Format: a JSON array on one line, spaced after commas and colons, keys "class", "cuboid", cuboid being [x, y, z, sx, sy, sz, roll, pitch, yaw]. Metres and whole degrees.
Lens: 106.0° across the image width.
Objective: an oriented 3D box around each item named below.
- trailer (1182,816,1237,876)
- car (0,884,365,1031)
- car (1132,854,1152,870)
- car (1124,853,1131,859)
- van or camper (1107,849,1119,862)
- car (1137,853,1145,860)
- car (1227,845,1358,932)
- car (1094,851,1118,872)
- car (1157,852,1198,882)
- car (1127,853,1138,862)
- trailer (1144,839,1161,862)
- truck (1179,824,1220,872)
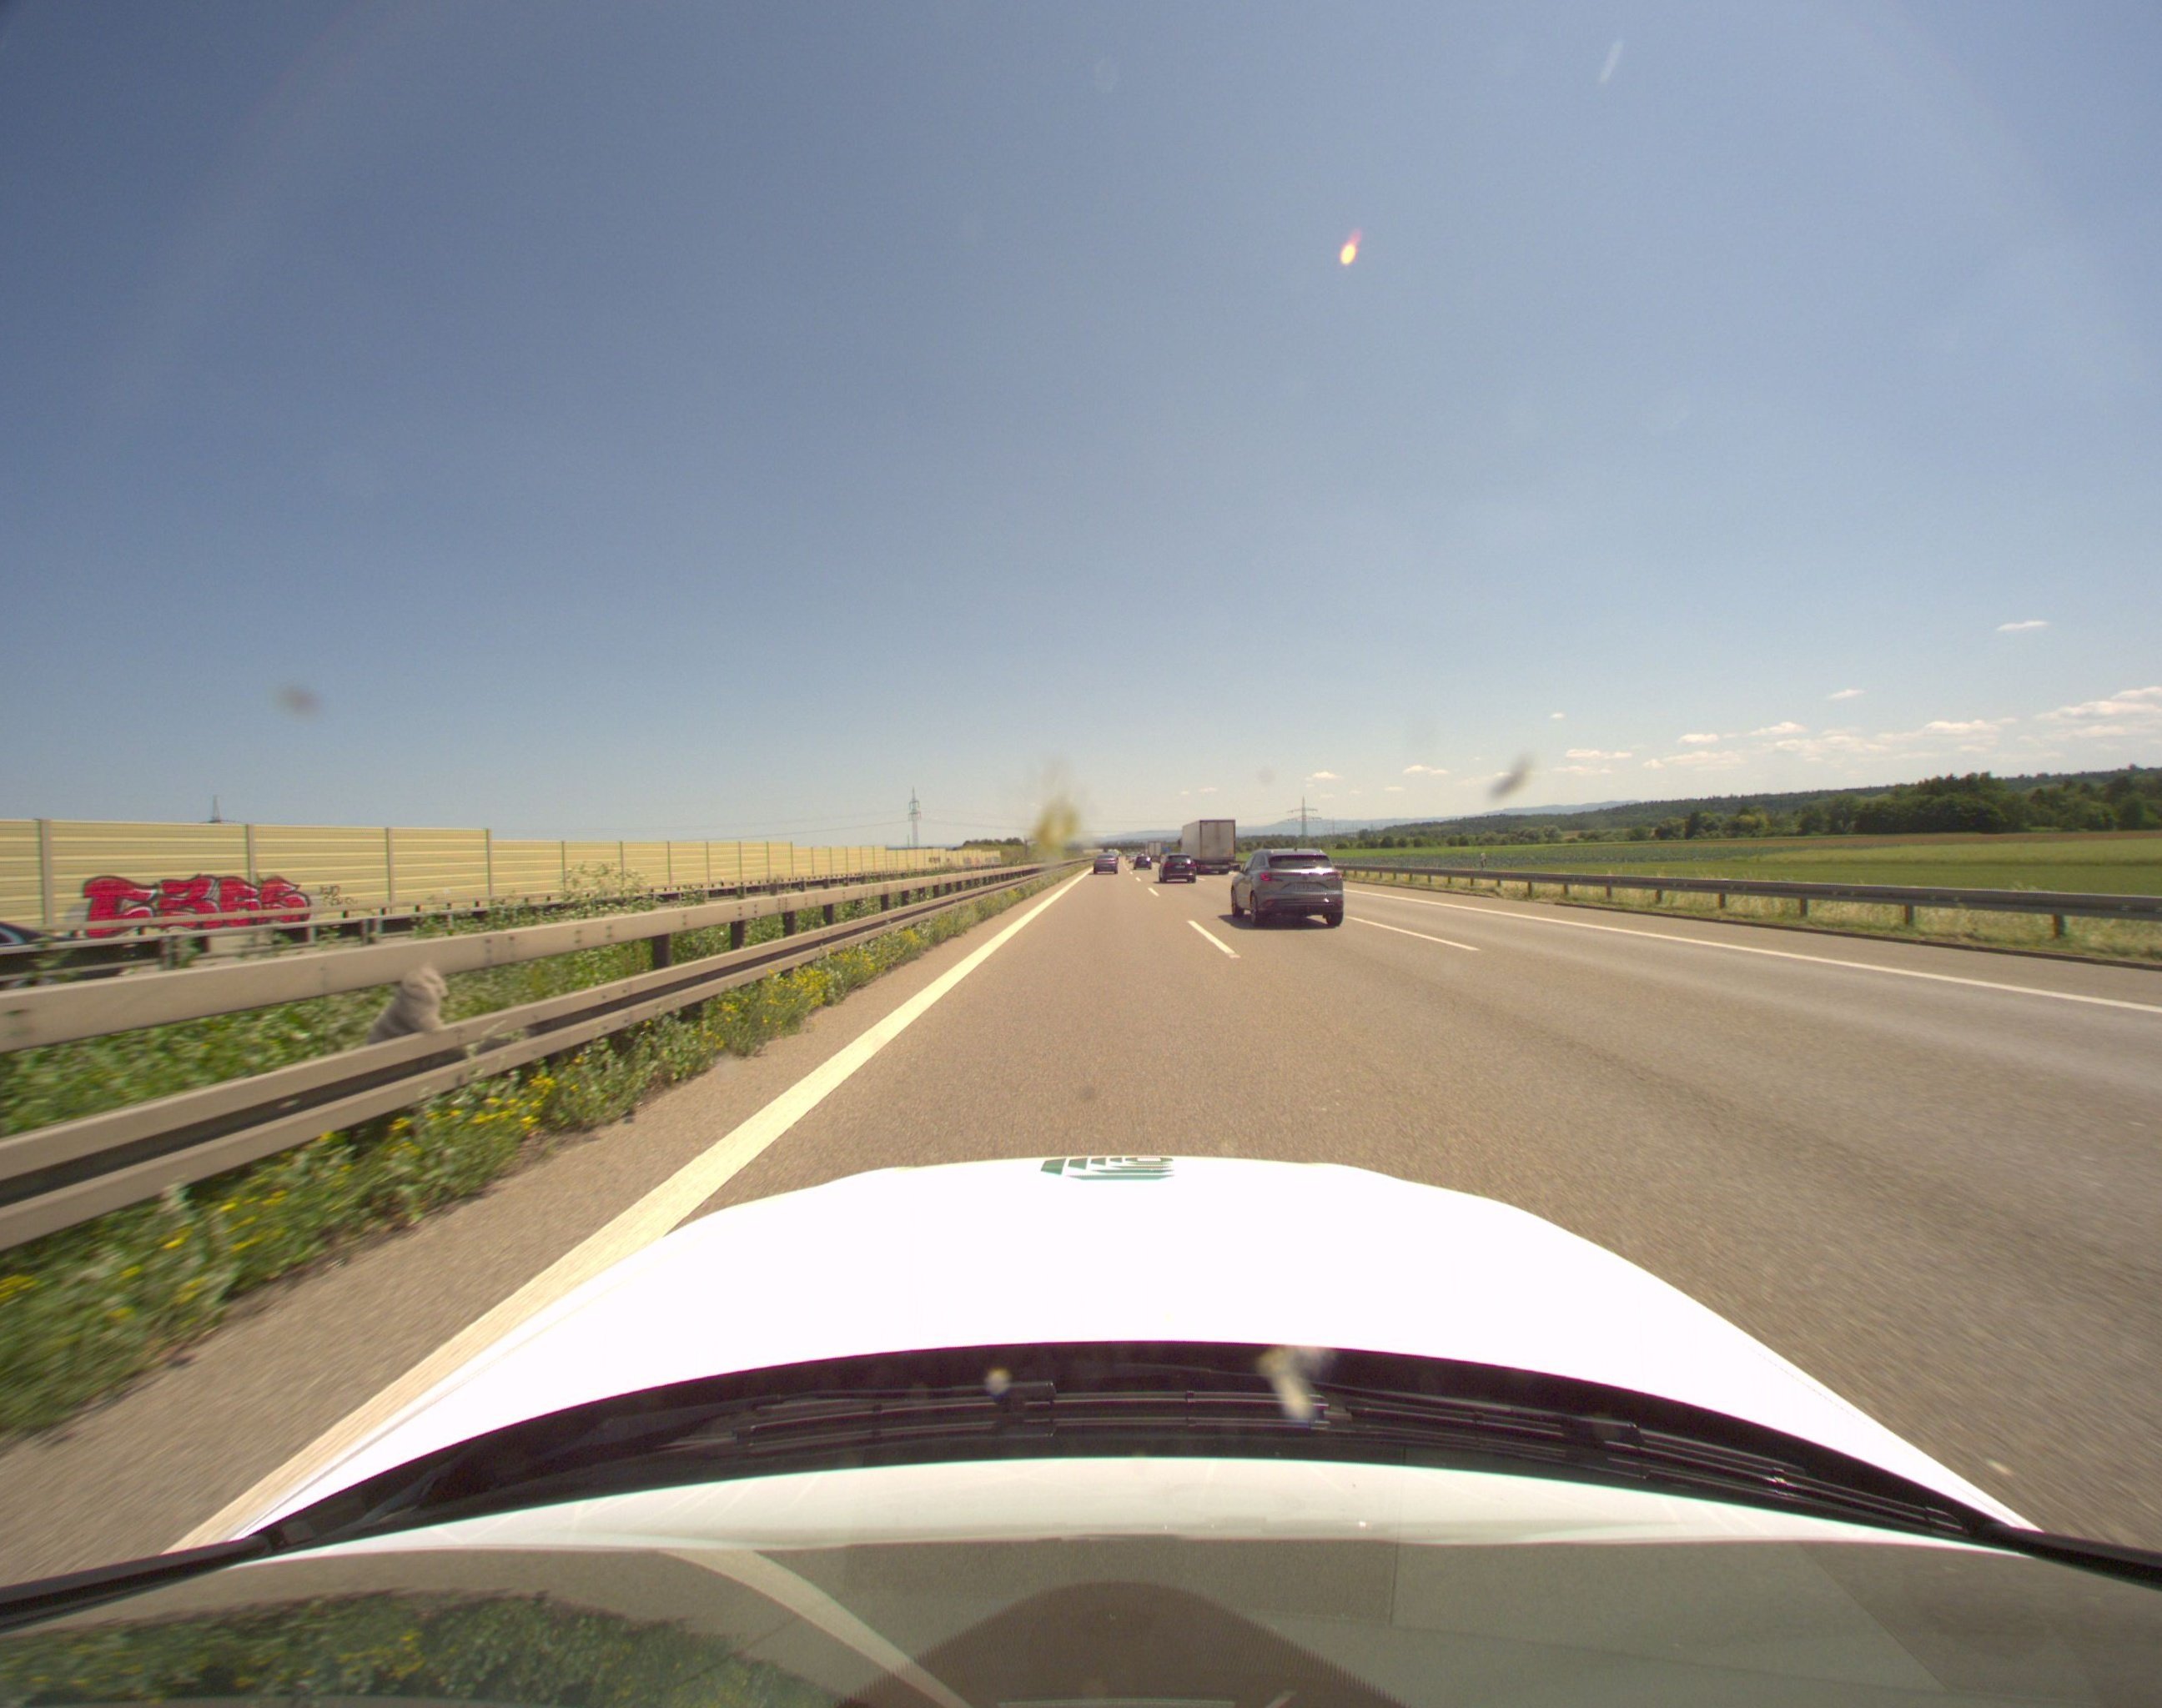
[{"class": "trailer", "cuboid": [10.042, -0.522, 64.984, 2.856, 4.220, 13.303, 0, 0, 3]}, {"class": "car", "cuboid": [-13.057, 1.326, 11.636, 1.986, 1.585, 4.001, -3, -1, 2]}, {"class": "car", "cuboid": [6.344, 0.812, 84.504, 1.925, 1.574, 4.938, 0, 0, 3]}, {"class": "car", "cuboid": [13.312, 0.587, 231.179, 1.985, 1.683, 4.003, 0, 0, 3]}, {"class": "van or camper", "cuboid": [5.706, 0.308, 144.939, 2.102, 2.211, 5.270, 0, 0, 3]}, {"class": "car", "cuboid": [14.330, 0.527, 194.774, 1.985, 1.683, 4.003, 0, 0, 3]}, {"class": "car", "cuboid": [4.470, 0.656, 17.917, 1.844, 1.648, 4.647, -1, 0, 2]}, {"class": "car", "cuboid": [2.027, 0.589, 66.411, 1.845, 1.664, 3.734, 0, 0, 0]}, {"class": "car", "cuboid": [5.195, 0.674, 44.379, 1.791, 1.562, 3.823, 0, 0, 0]}, {"class": "car", "cuboid": [9.276, 0.606, 147.306, 1.985, 1.683, 4.003, 0, 0, 3]}, {"class": "trailer", "cuboid": [13.872, -0.599, 159.624, 2.930, 4.198, 13.607, 0, 0, 3]}, {"class": "truck", "cuboid": [10.409, -0.476, 72.303, 2.851, 4.091, 6.882, 0, -1, 2]}]
